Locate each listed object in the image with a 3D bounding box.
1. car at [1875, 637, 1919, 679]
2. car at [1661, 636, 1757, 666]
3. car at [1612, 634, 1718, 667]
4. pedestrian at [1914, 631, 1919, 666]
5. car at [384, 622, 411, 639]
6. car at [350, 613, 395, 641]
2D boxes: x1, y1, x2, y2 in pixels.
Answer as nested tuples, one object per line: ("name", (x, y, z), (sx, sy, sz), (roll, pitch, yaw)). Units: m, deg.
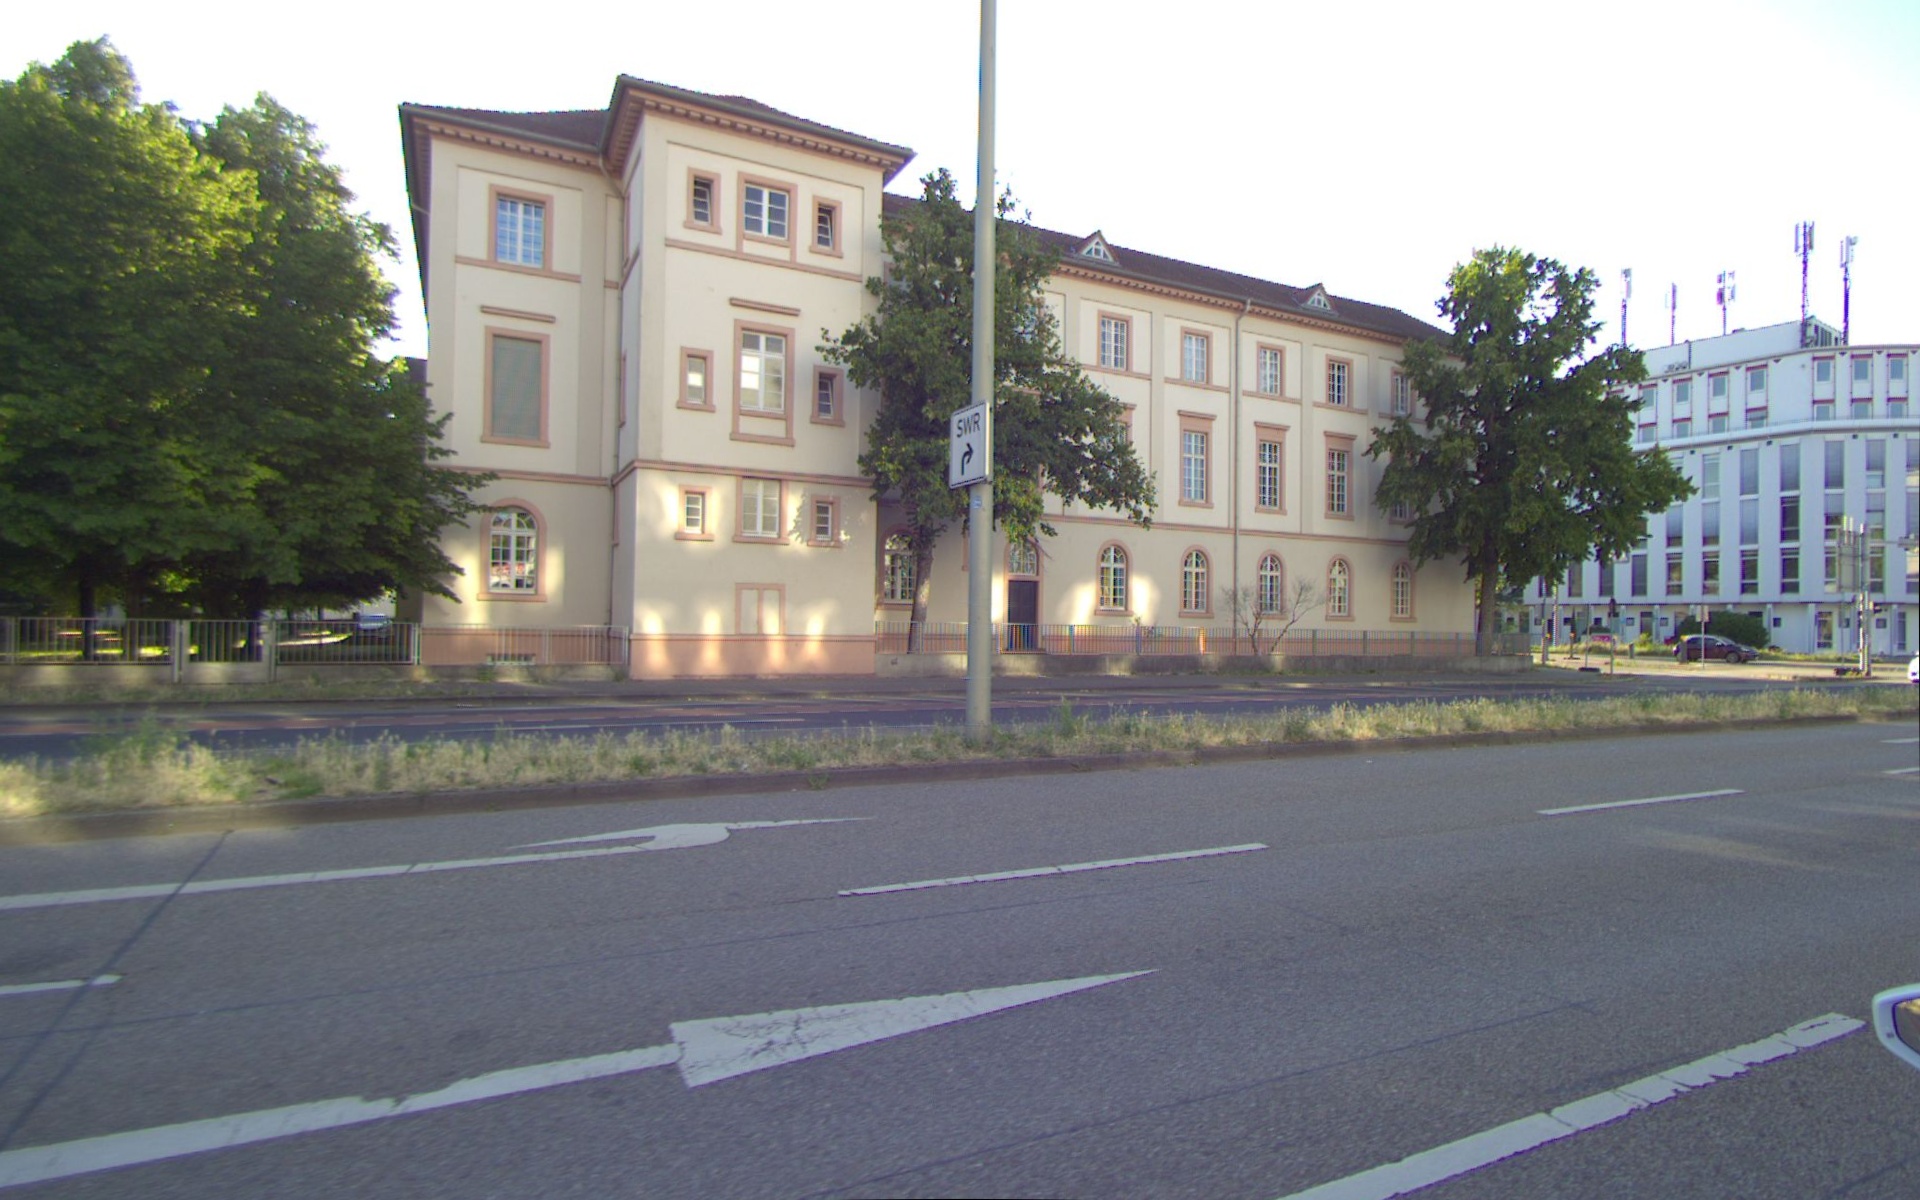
("car", (34.173, 2.008, 35.019), (4.386, 1.431, 1.986), (2, -2, -27))
("car", (40.809, 2.785, 54.780), (1.842, 1.549, 3.790), (4, -4, -30))
("car", (37.995, 2.716, 54.260), (1.972, 1.650, 4.335), (2, -2, -23))
("pedestrian", (52.293, 2.650, 54.509), (0.773, 1.883, 0.654), (2, -2, -42))
("car", (-40.748, 2.221, 72.775), (1.330, 1.170, 3.085), (1, -2, -23))
("car", (-34.080, 1.561, 58.373), (1.974, 1.541, 3.663), (1, -2, -26))
